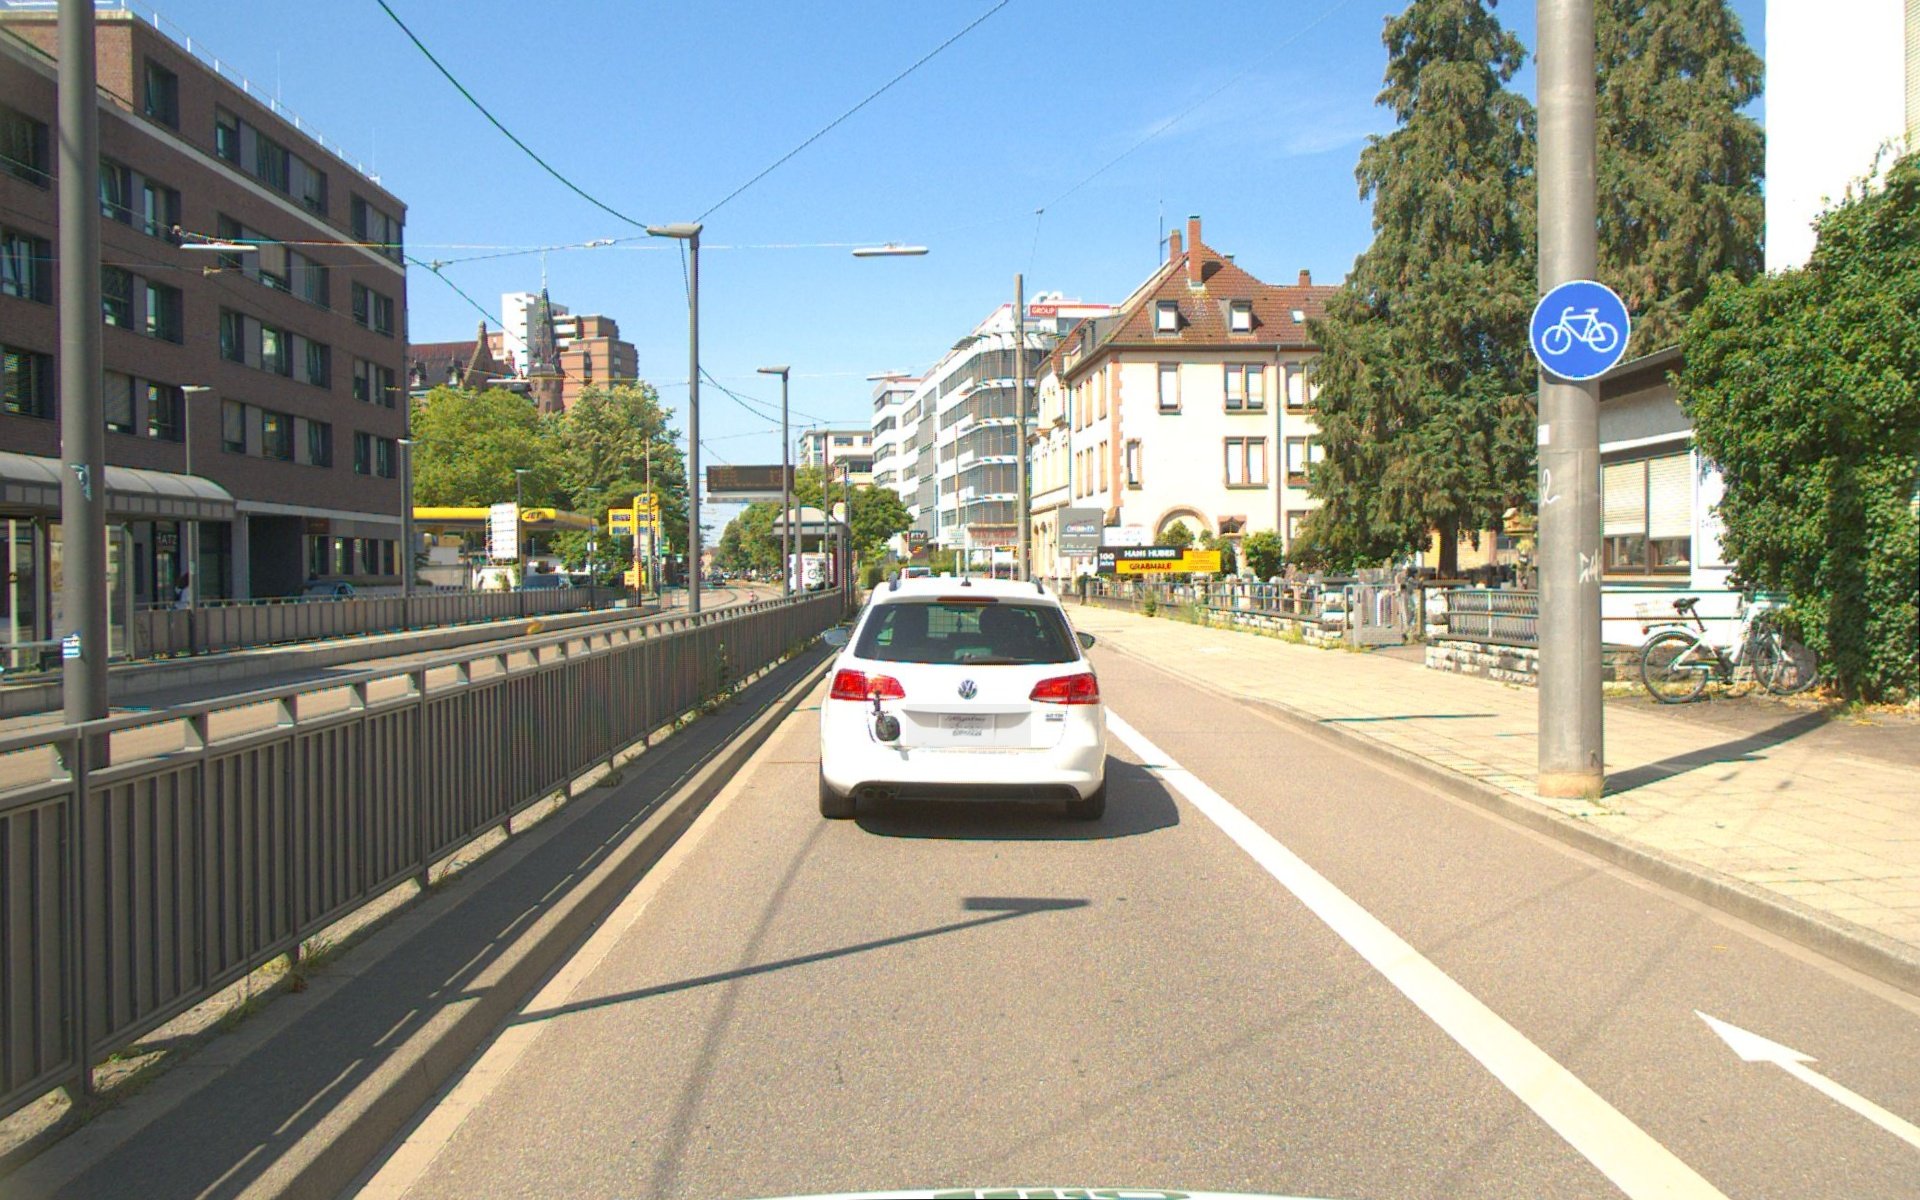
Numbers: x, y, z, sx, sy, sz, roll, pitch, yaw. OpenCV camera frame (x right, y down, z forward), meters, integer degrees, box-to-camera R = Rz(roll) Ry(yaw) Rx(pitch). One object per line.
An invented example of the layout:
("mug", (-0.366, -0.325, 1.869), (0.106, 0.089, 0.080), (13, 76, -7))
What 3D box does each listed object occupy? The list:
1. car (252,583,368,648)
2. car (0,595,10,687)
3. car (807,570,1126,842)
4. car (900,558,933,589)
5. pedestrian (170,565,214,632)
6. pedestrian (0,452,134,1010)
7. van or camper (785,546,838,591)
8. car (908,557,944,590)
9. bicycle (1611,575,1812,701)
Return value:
("car", (-16.303, 0.345, 41.650), (1.541, 1.484, 3.737), (-1, 1, -2))
("car", (-16.324, 0.720, 25.180), (1.541, 1.484, 3.933), (-1, 1, -2))
("car", (0.082, 0.541, 10.949), (1.716, 1.442, 3.854), (1, 1, 1))
("car", (-2.953, -1.786, 111.697), (1.955, 2.048, 3.996), (-1, 1, -5))
("pedestrian", (-21.391, -0.060, 46.082), (0.710, 1.822, 0.964), (-2, 1, -1))
("pedestrian", (-3.563, 0.432, 5.853), (0.810, 1.841, 0.833), (-1, 1, -1))
("van or camper", (-11.157, -2.354, 123.764), (2.894, 3.235, 6.589), (-1, 1, -14))
("car", (-2.206, -1.702, 106.292), (1.955, 2.048, 3.996), (-1, 1, -5))
("bicycle", (7.205, 0.353, 15.893), (1.677, 1.149, 0.525), (-1, 1, 0))
